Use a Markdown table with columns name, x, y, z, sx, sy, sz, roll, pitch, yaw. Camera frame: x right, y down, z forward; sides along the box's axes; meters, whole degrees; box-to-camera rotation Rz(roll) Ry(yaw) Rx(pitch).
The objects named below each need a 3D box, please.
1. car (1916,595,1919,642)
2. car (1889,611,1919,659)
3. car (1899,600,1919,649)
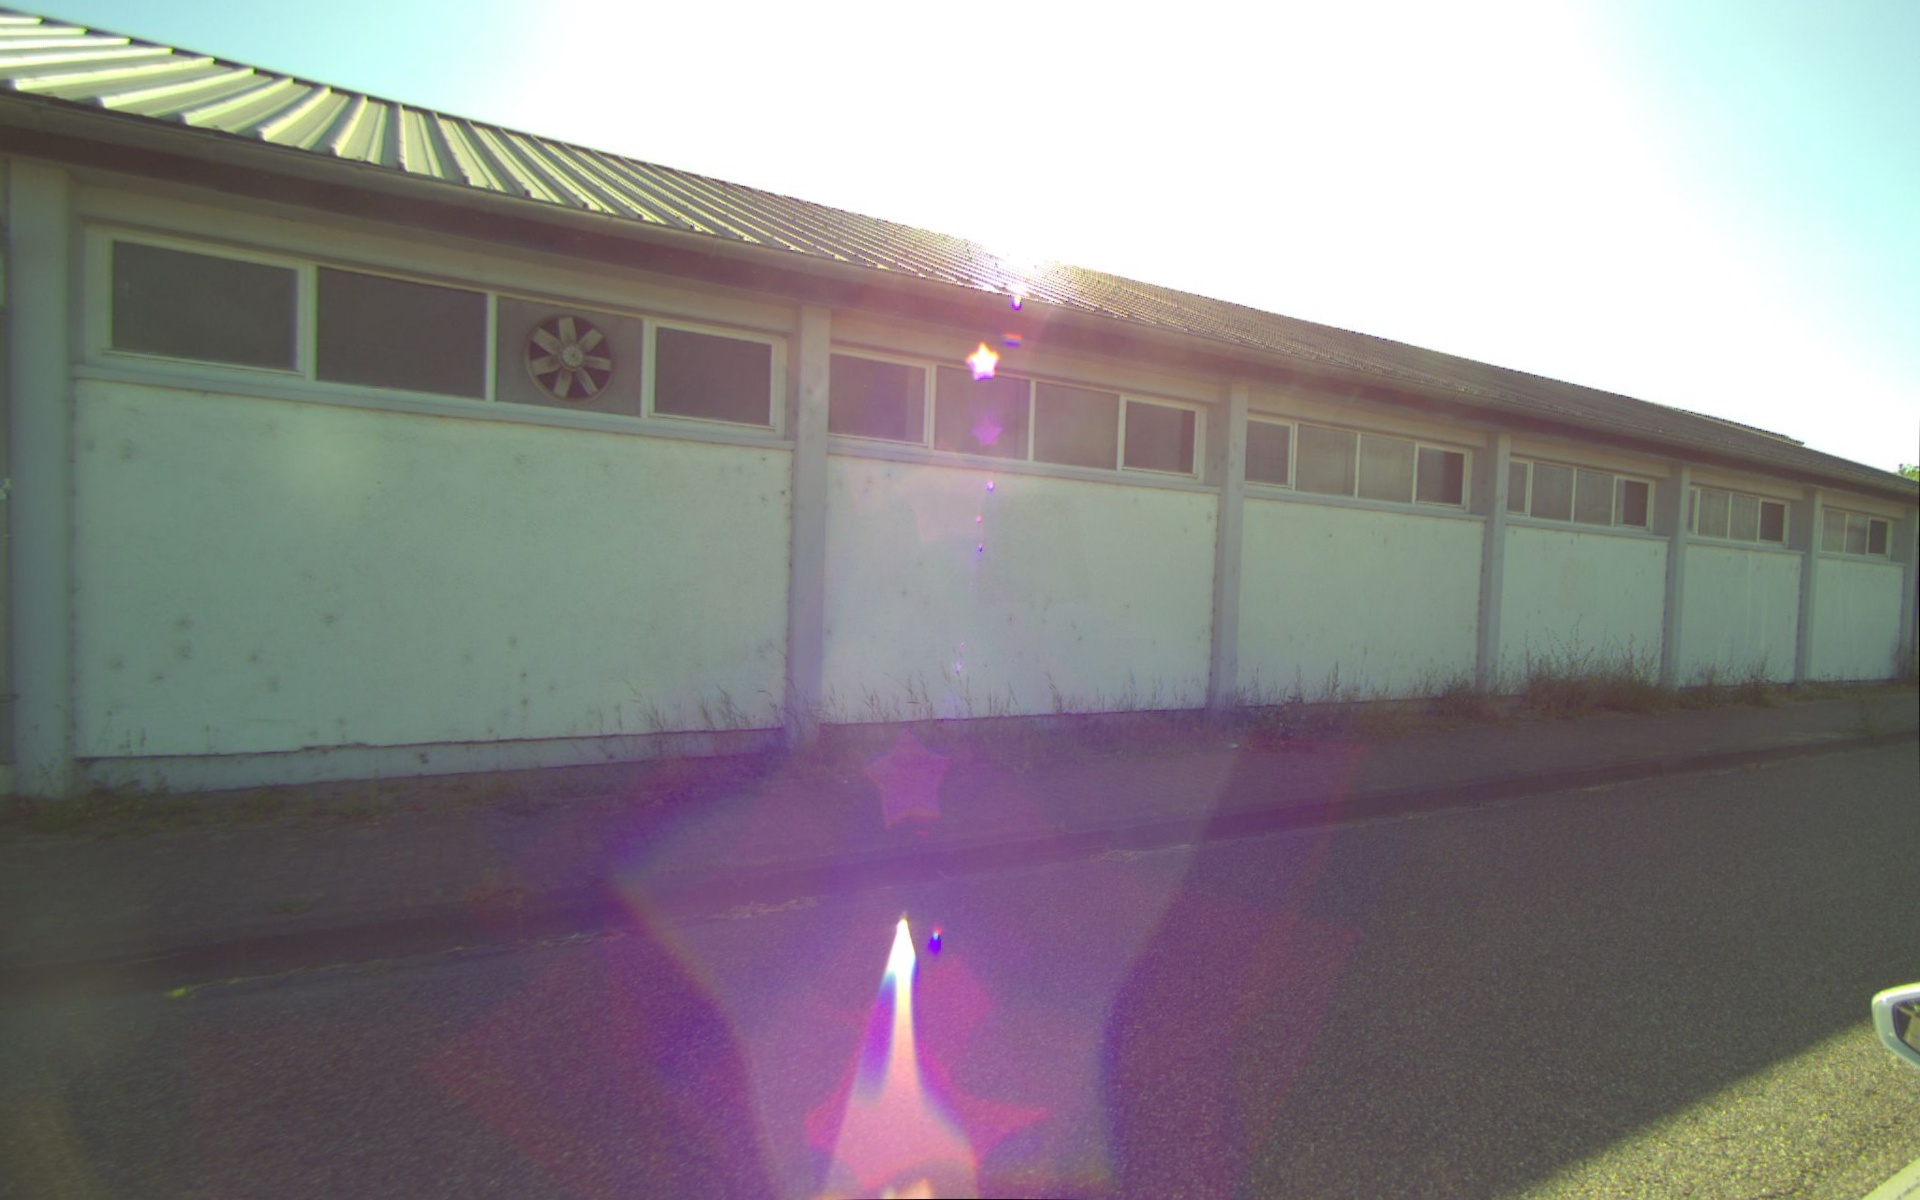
| name | x | y | z | sx | sy | sz | roll | pitch | yaw |
| --- | --- | --- | --- | --- | --- | --- | --- | --- | --- |
| car | 36.612 | 0.754 | 35.198 | 1.826 | 1.671 | 4.349 | 1 | 1 | -42 |
| car | 32.823 | 1.218 | 32.126 | 1.825 | 1.527 | 4.353 | 1 | 1 | -39 |
| car | 34.728 | 0.903 | 33.806 | 1.825 | 1.671 | 4.353 | 1 | 1 | -39 |
